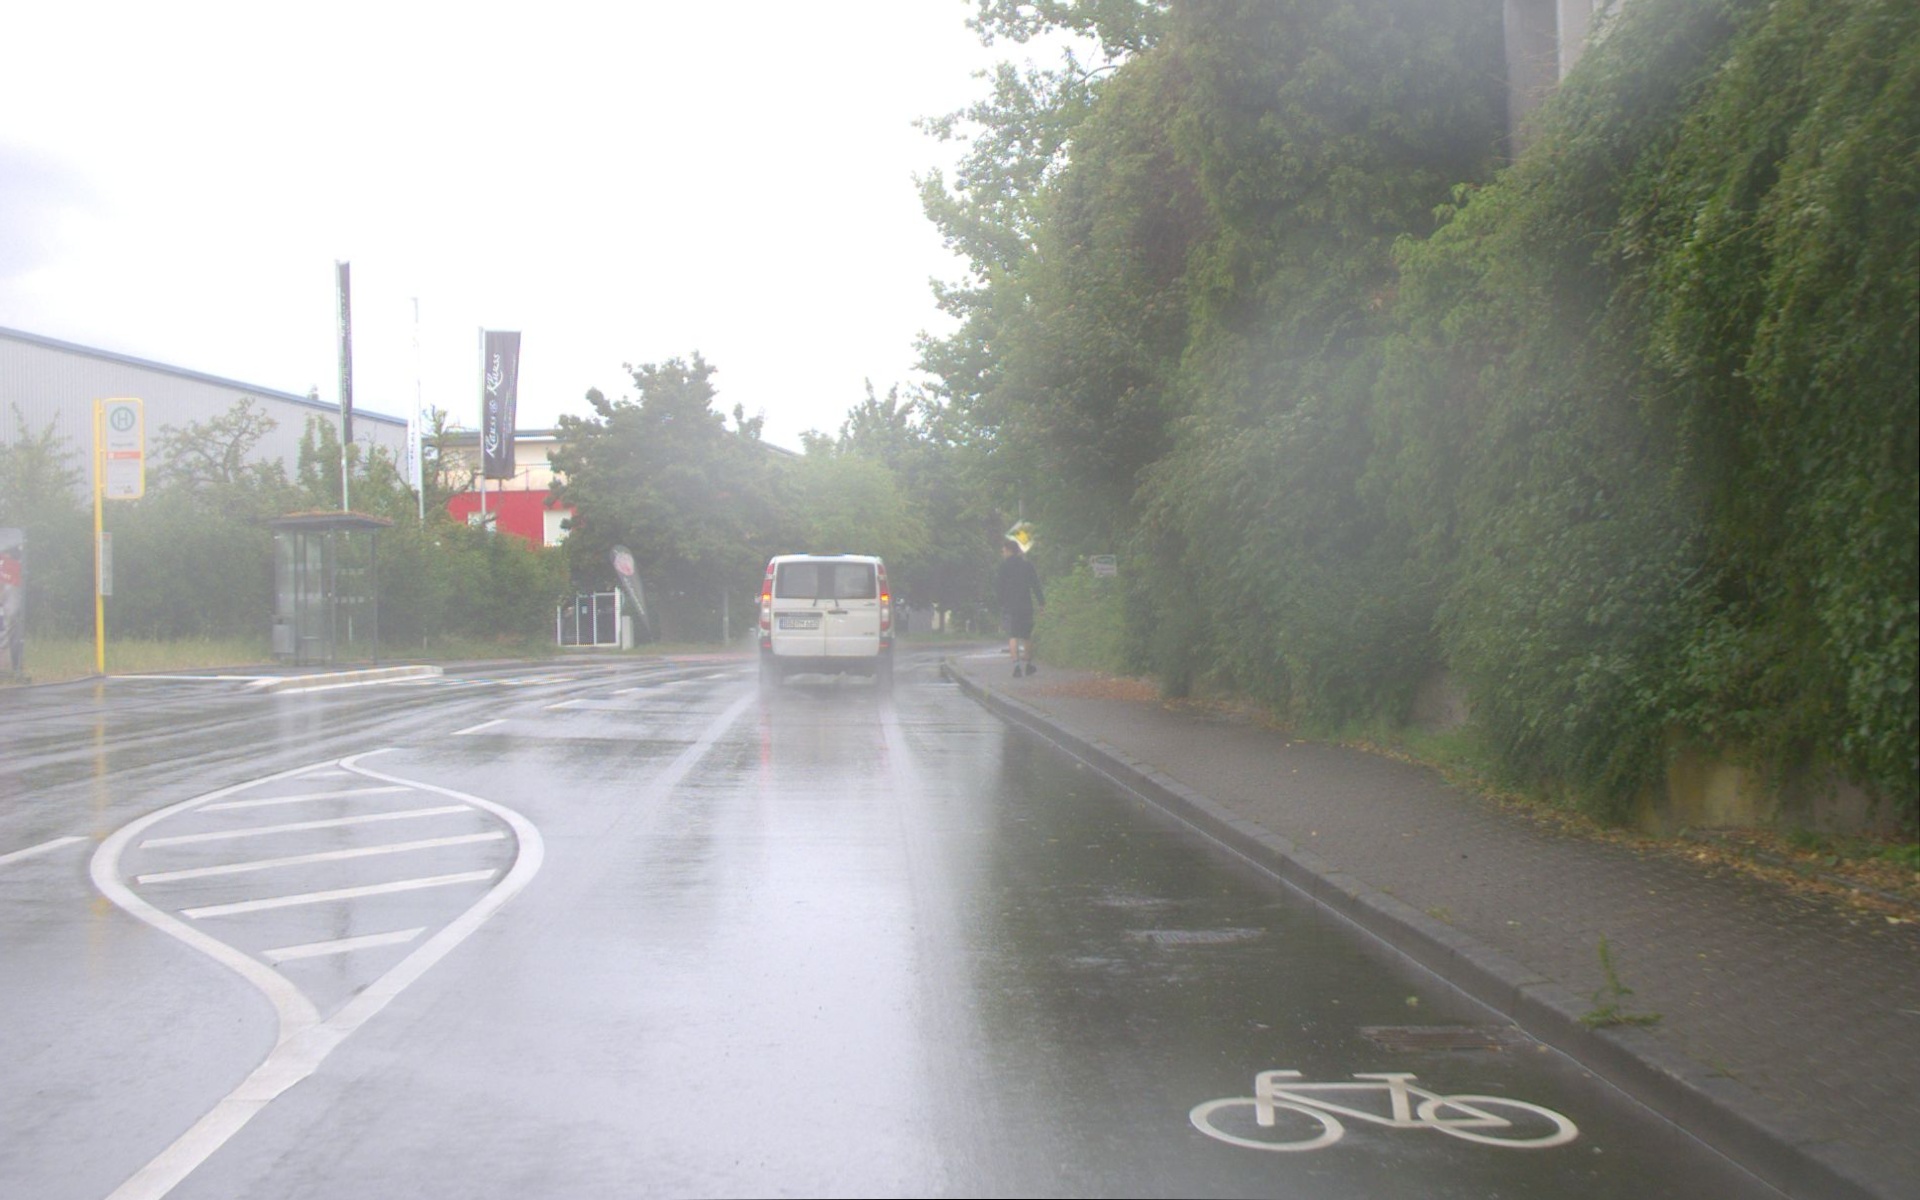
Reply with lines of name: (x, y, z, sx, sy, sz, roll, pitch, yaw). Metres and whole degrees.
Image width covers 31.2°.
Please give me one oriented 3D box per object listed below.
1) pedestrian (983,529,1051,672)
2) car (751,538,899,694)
pedestrian: (0.777, 0.011, 47.385, 0.776, 1.900, 0.728, -4, -1, -2)
car: (-1.875, 0.196, 49.285, 1.899, 2.011, 5.373, -3, 1, -1)
